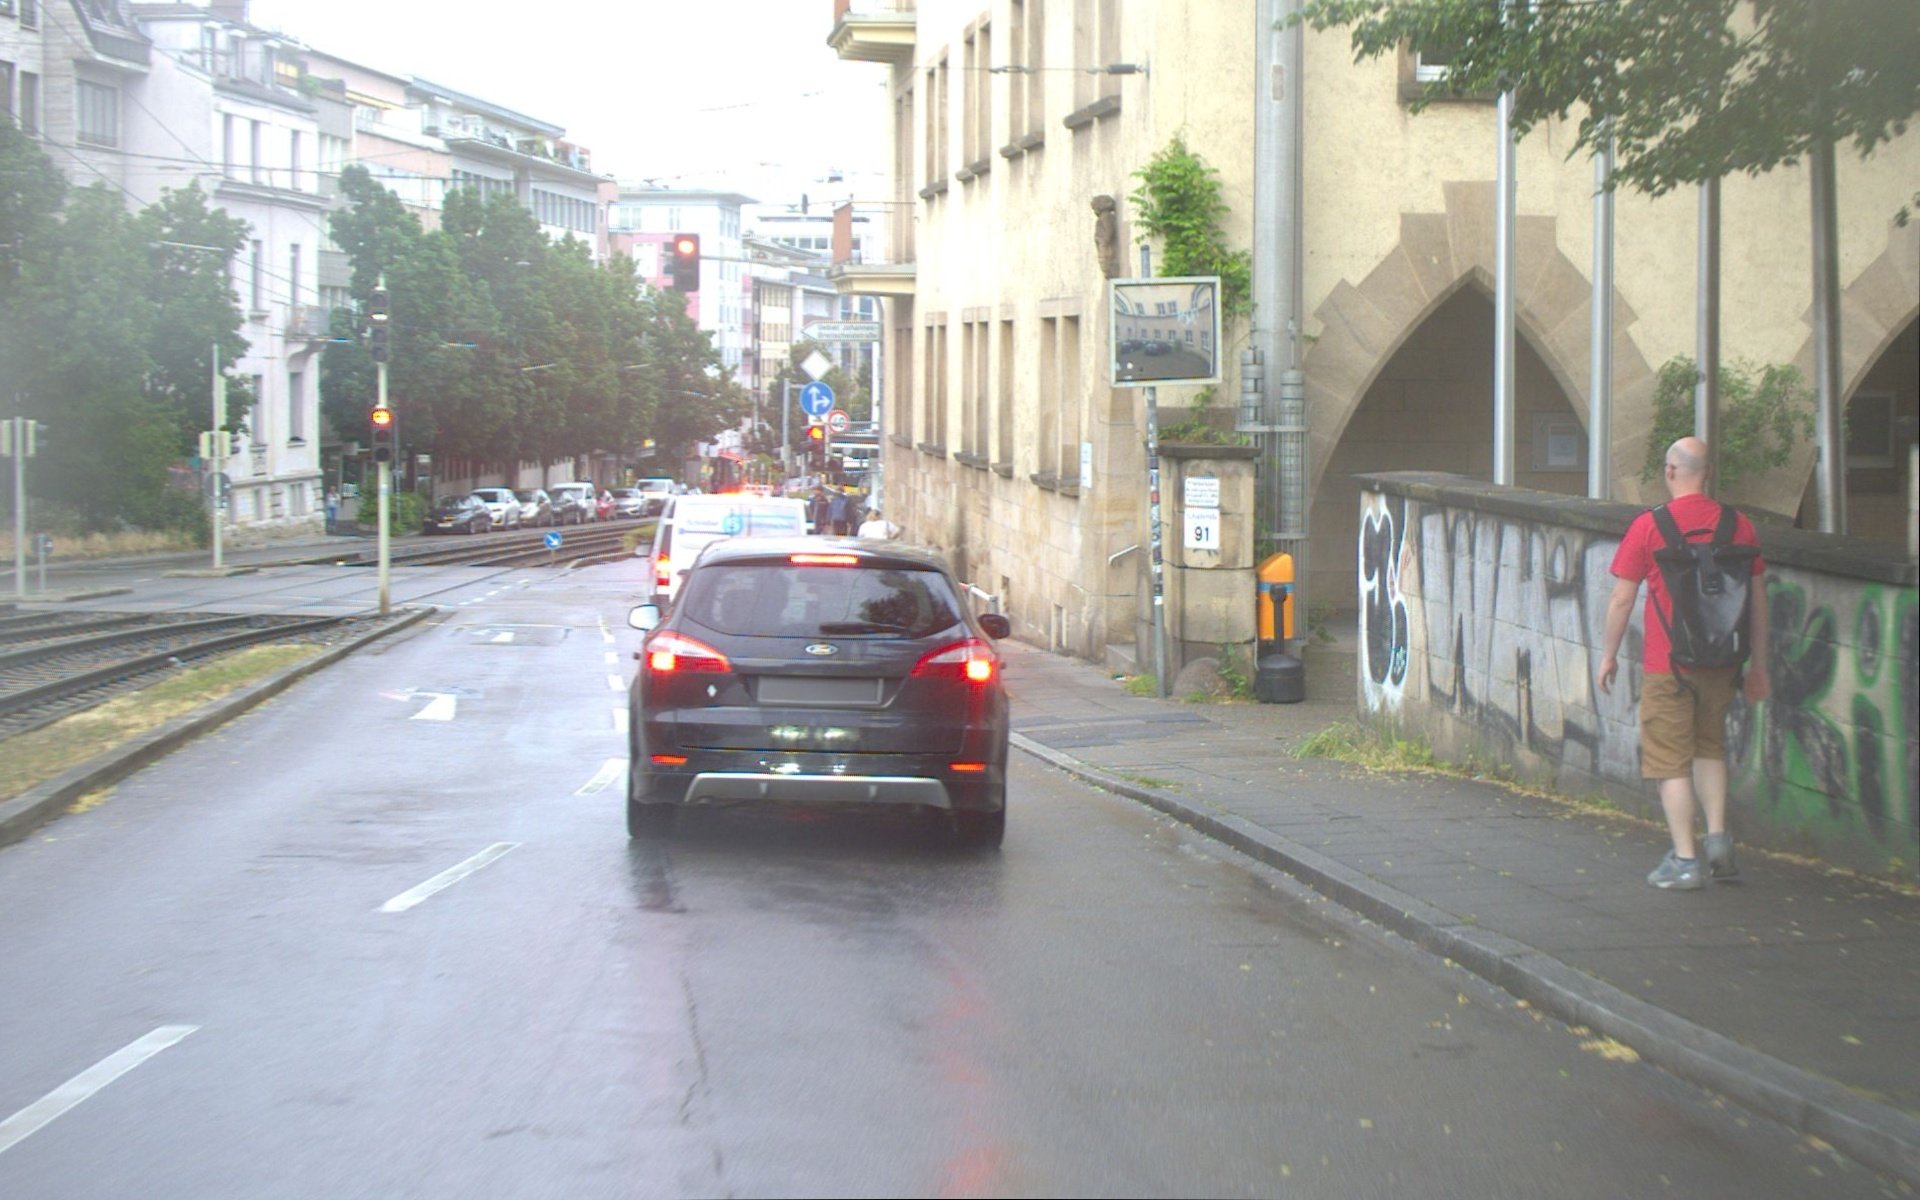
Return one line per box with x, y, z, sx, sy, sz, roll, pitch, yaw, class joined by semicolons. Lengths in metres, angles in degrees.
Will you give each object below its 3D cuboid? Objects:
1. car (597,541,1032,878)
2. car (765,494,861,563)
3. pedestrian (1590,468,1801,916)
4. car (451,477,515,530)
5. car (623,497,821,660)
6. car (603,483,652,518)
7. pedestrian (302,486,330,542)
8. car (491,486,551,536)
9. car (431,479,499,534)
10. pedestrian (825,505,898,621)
-0.846;0.468;17.453;1.920;1.474;4.001;1;1;-6;car
-3.832;-1.891;90.237;1.994;1.766;4.000;0;1;5;car
2.885;0.344;13.526;0.632;1.715;0.711;0;1;-4;pedestrian
-18.435;-3.746;133.020;1.993;2.007;4.000;0;1;-1;car
-2.751;-0.294;39.497;2.136;1.739;4.219;-1;2;-5;car
-15.781;-4.716;163.428;1.993;1.656;4.000;0;1;-1;car
-22.999;-3.063;122.756;0.941;2.007;0.765;0;1;-15;pedestrian
-17.787;-3.606;139.420;1.993;2.007;4.000;0;1;-1;car
-18.221;-3.443;126.721;1.993;2.007;4.000;0;1;-1;car
-1.535;-0.575;53.565;1.045;1.789;0.902;0;1;-7;pedestrian
